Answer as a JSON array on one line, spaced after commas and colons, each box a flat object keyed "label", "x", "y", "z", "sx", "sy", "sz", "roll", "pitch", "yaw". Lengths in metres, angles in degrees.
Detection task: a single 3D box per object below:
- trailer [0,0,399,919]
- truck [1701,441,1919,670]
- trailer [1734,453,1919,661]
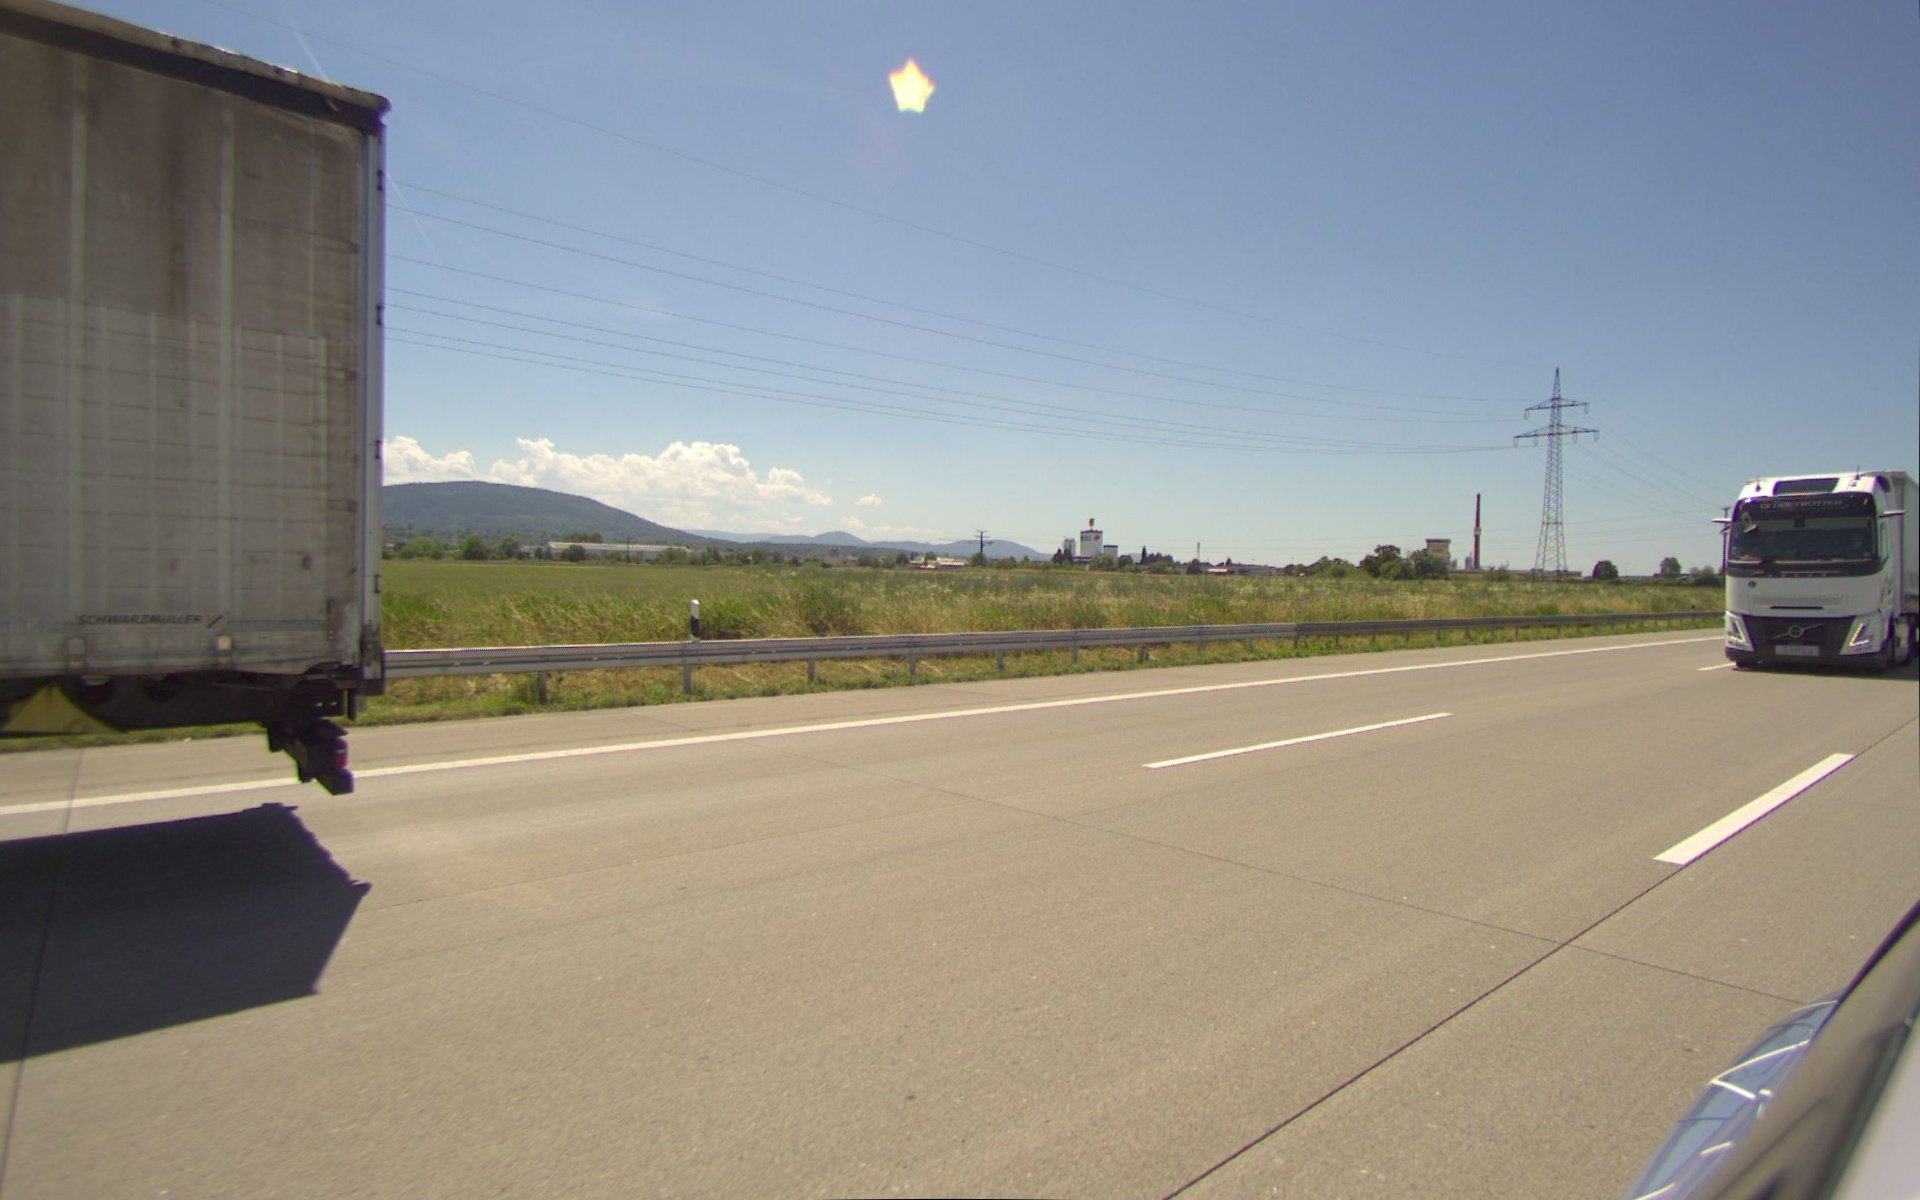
[{"label": "trailer", "x": -8.810, "y": -0.734, "z": 1.919, "sx": 13.277, "sy": 4.152, "sz": 2.878, "roll": 0, "pitch": 0, "yaw": -41}, {"label": "truck", "x": 18.005, "y": -0.816, "z": 21.106, "sx": 5.382, "sy": 4.114, "sz": 2.989, "roll": 0, "pitch": 0, "yaw": -41}, {"label": "trailer", "x": 23.288, "y": -0.868, "z": 25.682, "sx": 13.957, "sy": 4.112, "sz": 3.023, "roll": 0, "pitch": 0, "yaw": -41}]
